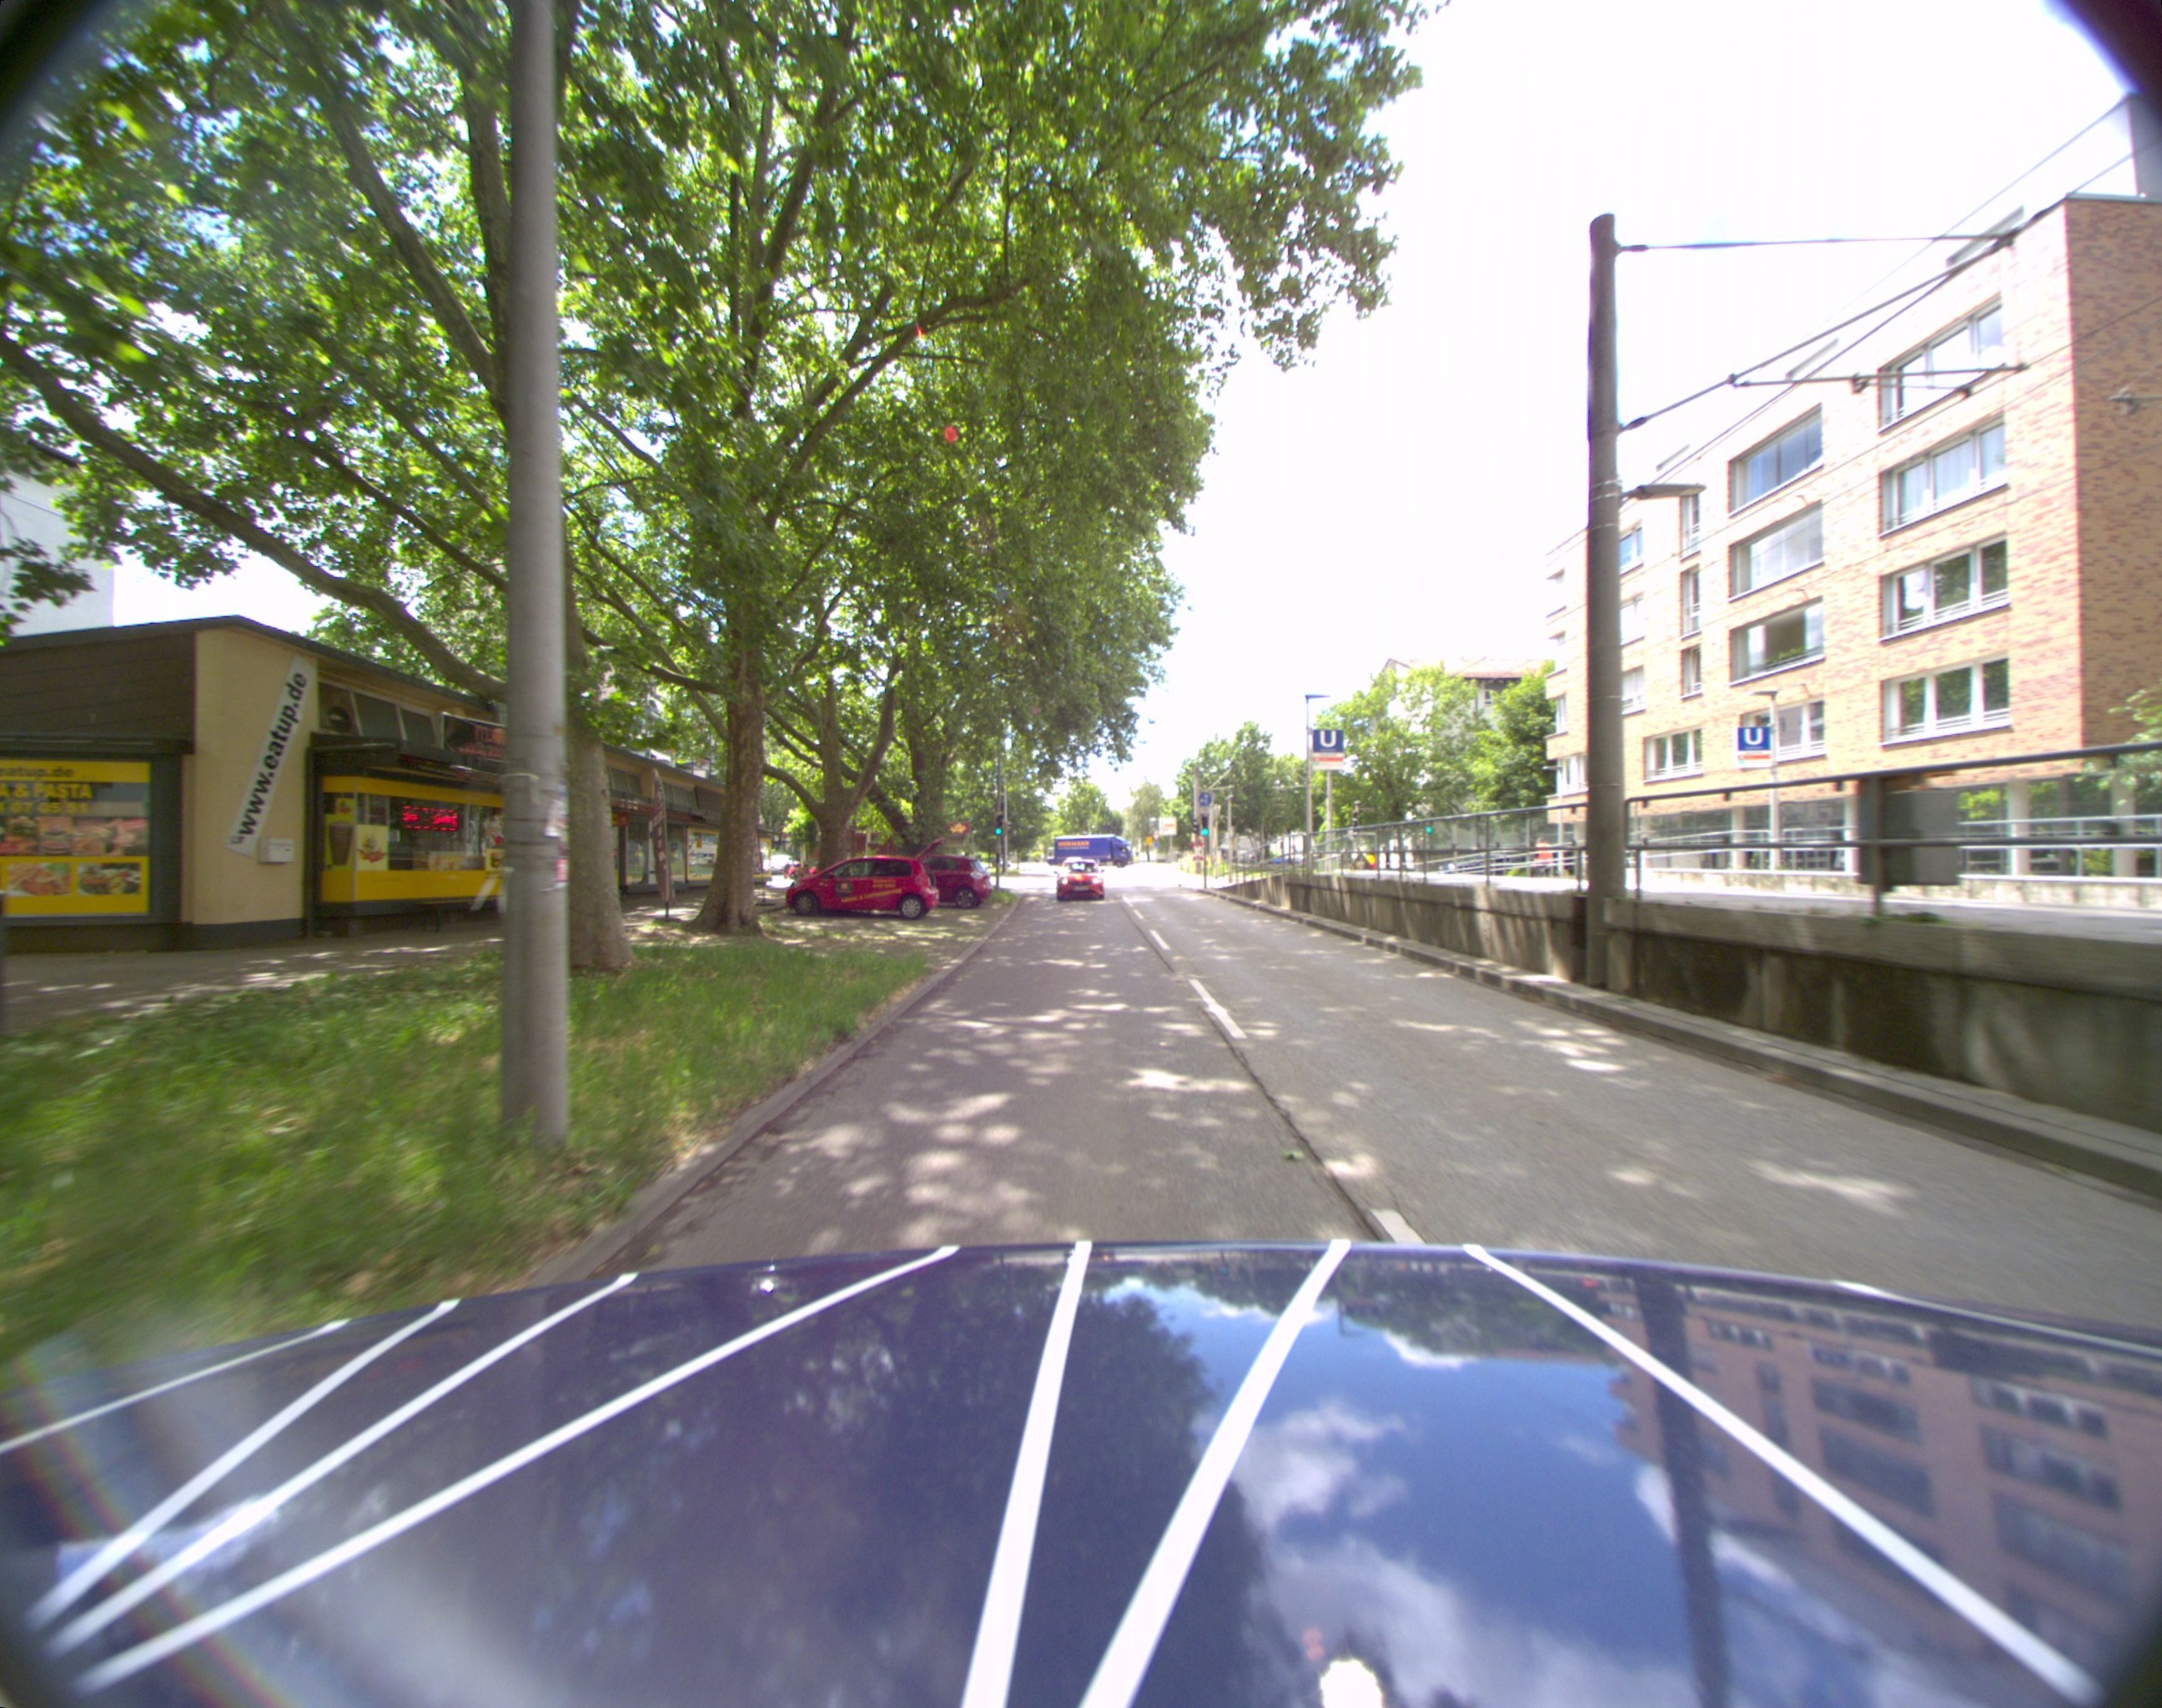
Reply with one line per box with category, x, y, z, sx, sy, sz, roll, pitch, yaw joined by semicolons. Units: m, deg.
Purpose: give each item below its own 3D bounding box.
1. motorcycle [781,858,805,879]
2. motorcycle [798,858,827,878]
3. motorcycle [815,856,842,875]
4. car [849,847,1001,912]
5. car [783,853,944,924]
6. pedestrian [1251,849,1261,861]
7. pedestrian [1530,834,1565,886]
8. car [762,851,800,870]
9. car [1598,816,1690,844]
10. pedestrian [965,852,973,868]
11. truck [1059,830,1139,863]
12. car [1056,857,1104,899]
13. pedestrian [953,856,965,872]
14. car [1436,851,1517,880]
motorcycle;-17.702;0.872;46.695;0.741;1.188;2.132;0;1;-40
motorcycle;-16.526;0.871;46.740;2.132;1.188;0.741;1;1;43
motorcycle;-16.356;0.740;49.170;2.132;1.188;0.741;0;0;44
car;-4.572;0.713;22.637;4.038;1.602;1.731;3;1;3
car;-5.146;0.793;18.335;3.416;1.506;1.609;2;0;-3
pedestrian;23.009;0.115;100.008;0.877;1.655;1.019;0;0;-39
pedestrian;16.679;0.208;27.194;0.745;1.814;0.829;0;0;0
car;-21.838;0.473;55.431;1.749;1.334;3.487;0;0;-7
car;28.707;-1.194;38.818;3.540;1.391;1.594;0;0;-2
pedestrian;-10.970;0.584;74.662;0.726;1.529;0.654;0;0;-4
truck;2.274;-0.890;94.501;9.587;4.069;2.635;0;0;20
car;-0.002;0.874;29.255;1.712;1.439;3.670;-2;0;1
pedestrian;-10.178;0.806;63.416;0.677;1.259;0.674;5;0;4
car;22.252;0.654;42.803;3.681;1.468;1.588;2;0;3
